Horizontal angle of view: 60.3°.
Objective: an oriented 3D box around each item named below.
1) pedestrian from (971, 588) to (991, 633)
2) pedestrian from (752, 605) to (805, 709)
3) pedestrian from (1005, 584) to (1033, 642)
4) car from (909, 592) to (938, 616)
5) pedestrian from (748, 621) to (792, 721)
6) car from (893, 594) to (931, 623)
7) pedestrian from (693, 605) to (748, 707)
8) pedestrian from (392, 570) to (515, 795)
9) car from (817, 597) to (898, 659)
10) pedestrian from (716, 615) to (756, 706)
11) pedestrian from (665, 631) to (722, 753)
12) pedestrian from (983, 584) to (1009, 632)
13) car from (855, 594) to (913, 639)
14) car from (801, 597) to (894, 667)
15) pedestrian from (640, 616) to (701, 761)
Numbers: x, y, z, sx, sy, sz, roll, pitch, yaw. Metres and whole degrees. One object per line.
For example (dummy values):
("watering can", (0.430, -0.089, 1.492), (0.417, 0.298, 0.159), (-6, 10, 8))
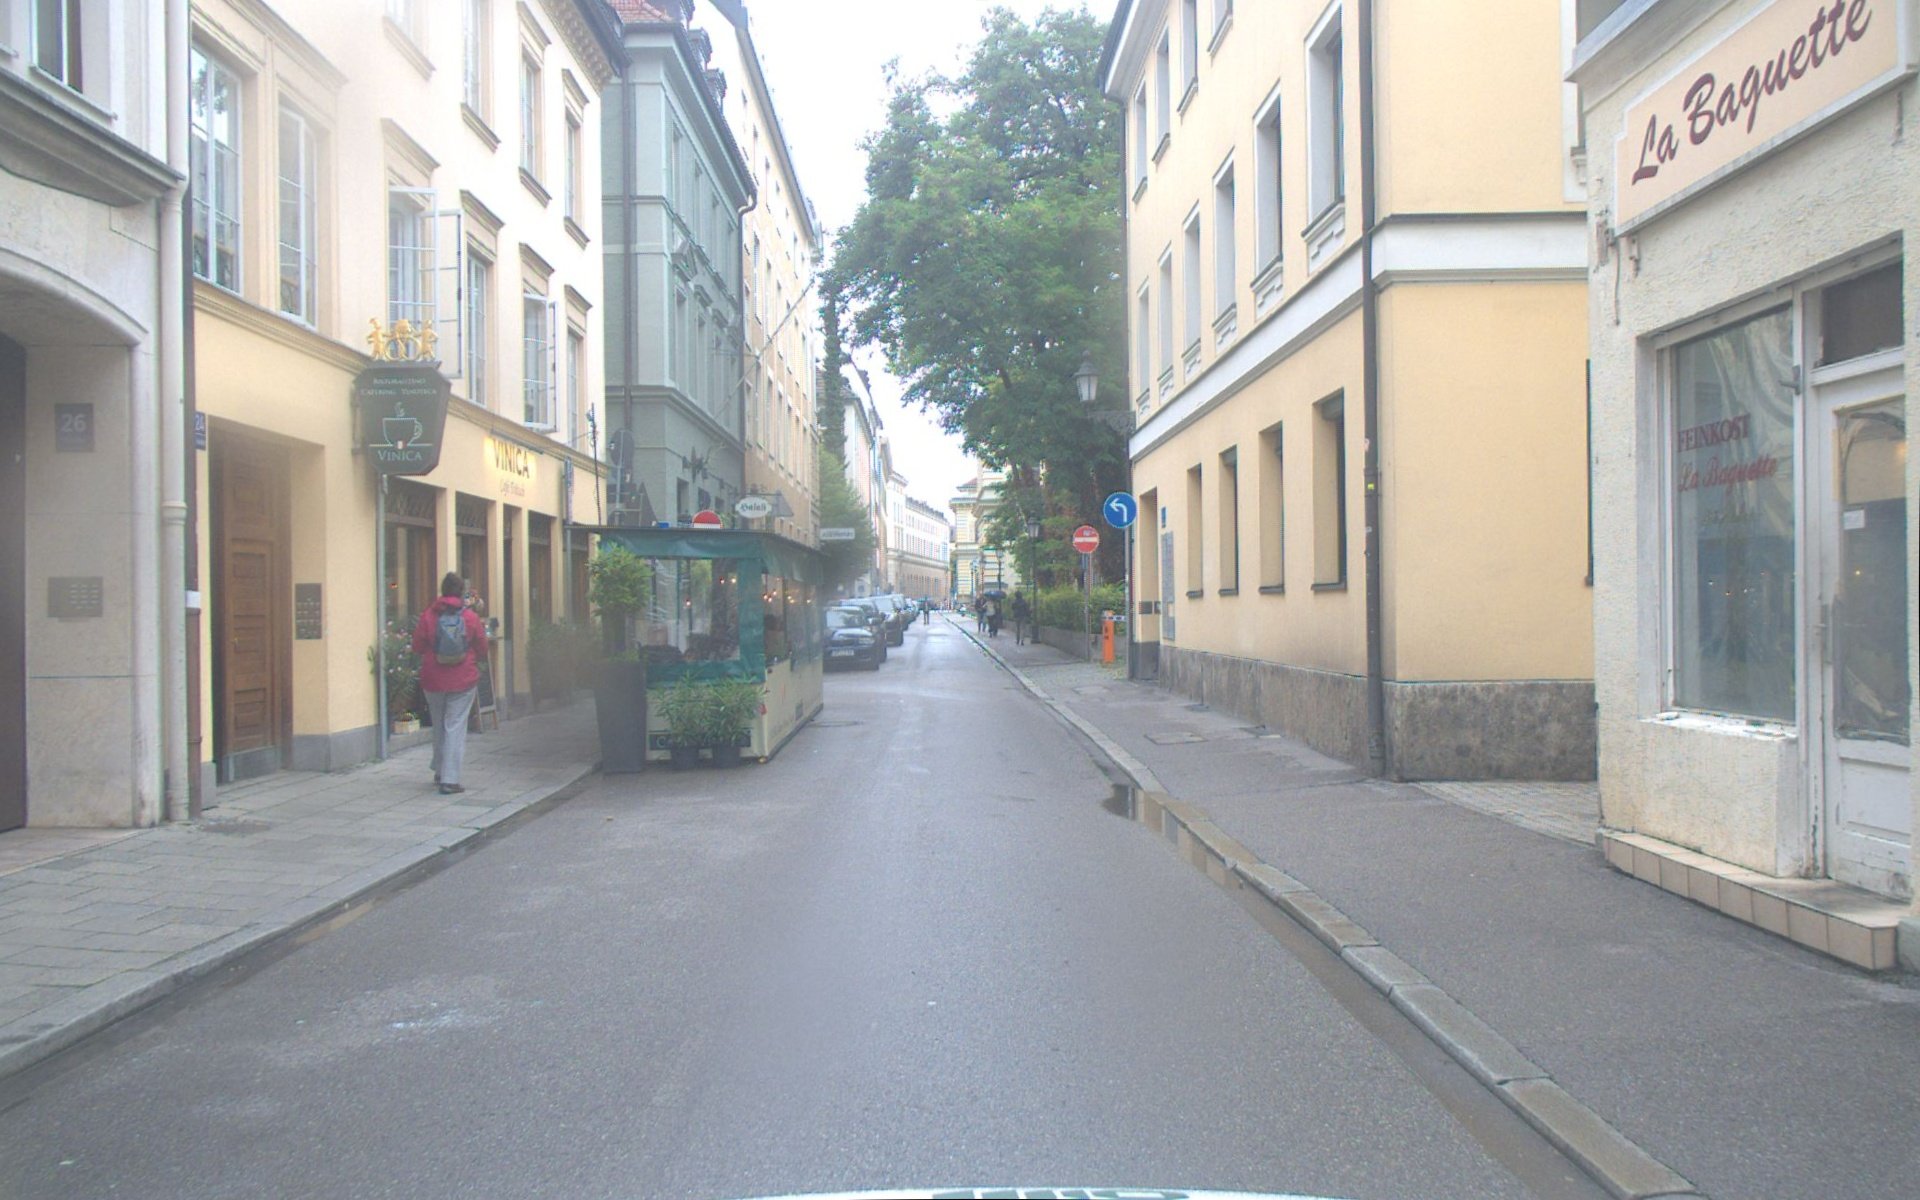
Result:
("pedestrian", (0.871, 0.435, 68.796), (0.777, 1.833, 0.903), (0, 0, 0))
("pedestrian", (-2.412, 0.747, 22.042), (0.660, 1.350, 0.696), (0, 0, -3))
("pedestrian", (1.867, 0.411, 52.546), (0.862, 1.833, 1.046), (0, 0, 0))
("car", (-2.369, 0.253, 108.314), (1.742, 1.492, 3.543), (0, 0, 2))
("pedestrian", (-2.334, 0.867, 20.367), (0.499, 1.196, 0.630), (0, 0, -3))
("car", (-2.493, 0.421, 86.765), (1.742, 1.492, 3.543), (0, 0, 2))
("pedestrian", (-3.218, 0.739, 22.268), (0.660, 1.350, 0.696), (0, 0, -3))
("pedestrian", (-4.057, 0.644, 13.305), (0.750, 1.738, 0.785), (-1, 0, -3))
("car", (-2.563, 0.687, 42.076), (1.742, 1.492, 3.543), (0, 0, 2))
("pedestrian", (-3.137, 0.841, 23.189), (0.499, 1.259, 0.630), (0, 0, -3))
("pedestrian", (-2.717, 0.929, 16.893), (0.499, 1.208, 0.630), (0, 0, -3))
("pedestrian", (1.390, 0.288, 64.044), (0.995, 1.833, 1.349), (0, 0, 0))
("car", (-2.591, 0.536, 57.033), (1.742, 1.492, 3.543), (0, 0, 2))
("car", (-2.506, 0.684, 37.510), (1.742, 1.492, 3.663), (0, 0, 2))
("pedestrian", (-2.772, 0.836, 15.883), (0.499, 1.350, 0.630), (0, 0, -3))
